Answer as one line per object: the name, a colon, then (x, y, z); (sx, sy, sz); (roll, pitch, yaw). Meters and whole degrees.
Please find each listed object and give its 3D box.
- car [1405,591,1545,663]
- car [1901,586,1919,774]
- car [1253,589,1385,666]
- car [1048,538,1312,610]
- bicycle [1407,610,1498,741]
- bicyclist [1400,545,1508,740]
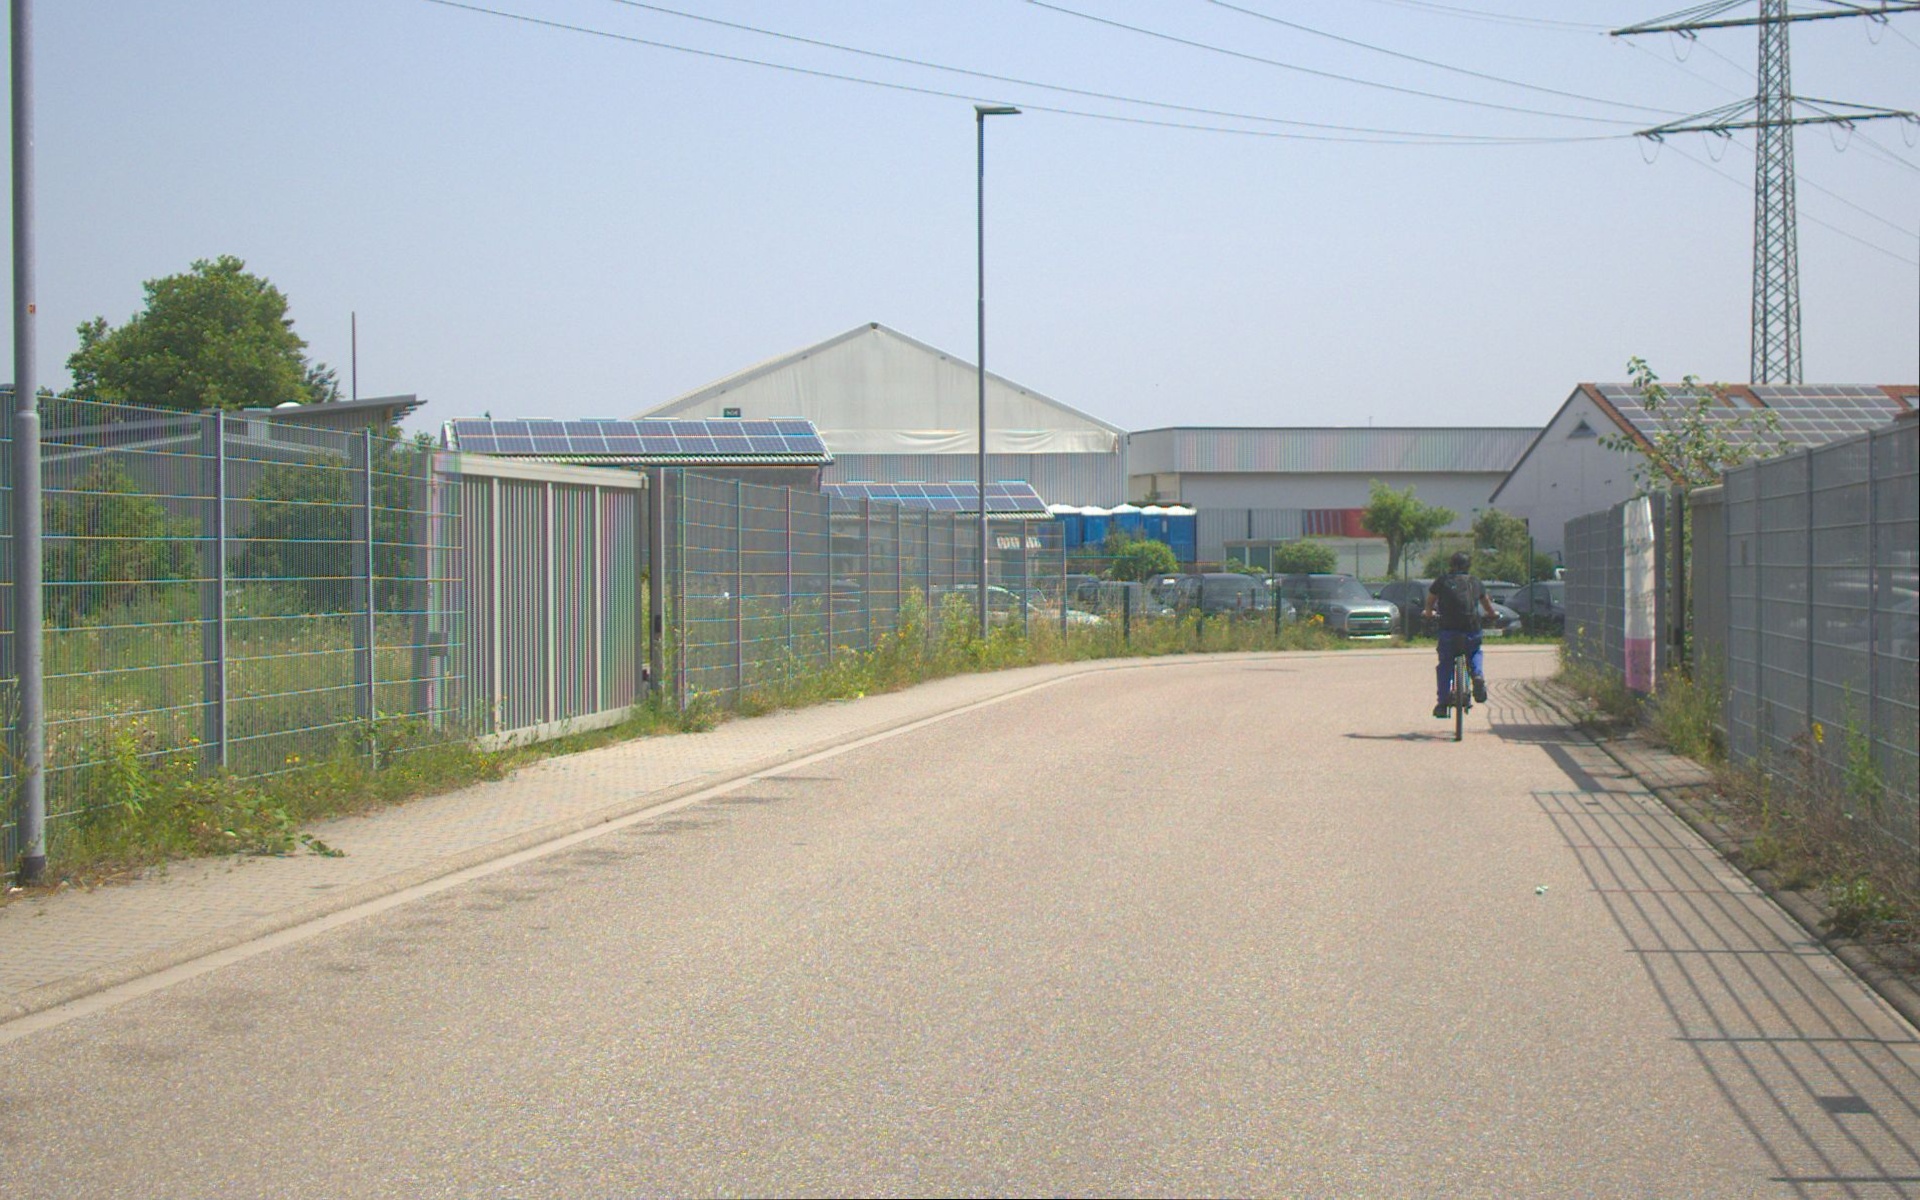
car: (11.382, 0.576, 76.168); (1.862, 1.549, 3.771); (0, 0, -12)
car: (9.629, 0.732, 26.705); (4.164, 1.469, 1.638); (3, 1, 4)
car: (7.922, 0.586, 76.143); (1.862, 1.638, 3.635); (0, 0, -12)
car: (4.063, -0.485, 63.706); (4.546, 1.302, 1.869); (0, 0, -11)
bicycle: (4.270, 0.634, 29.727); (0.685, 1.048, 1.900); (1, 1, 11)
bicyclist: (4.264, 0.351, 29.610); (0.843, 1.613, 1.039); (1, 2, 11)
